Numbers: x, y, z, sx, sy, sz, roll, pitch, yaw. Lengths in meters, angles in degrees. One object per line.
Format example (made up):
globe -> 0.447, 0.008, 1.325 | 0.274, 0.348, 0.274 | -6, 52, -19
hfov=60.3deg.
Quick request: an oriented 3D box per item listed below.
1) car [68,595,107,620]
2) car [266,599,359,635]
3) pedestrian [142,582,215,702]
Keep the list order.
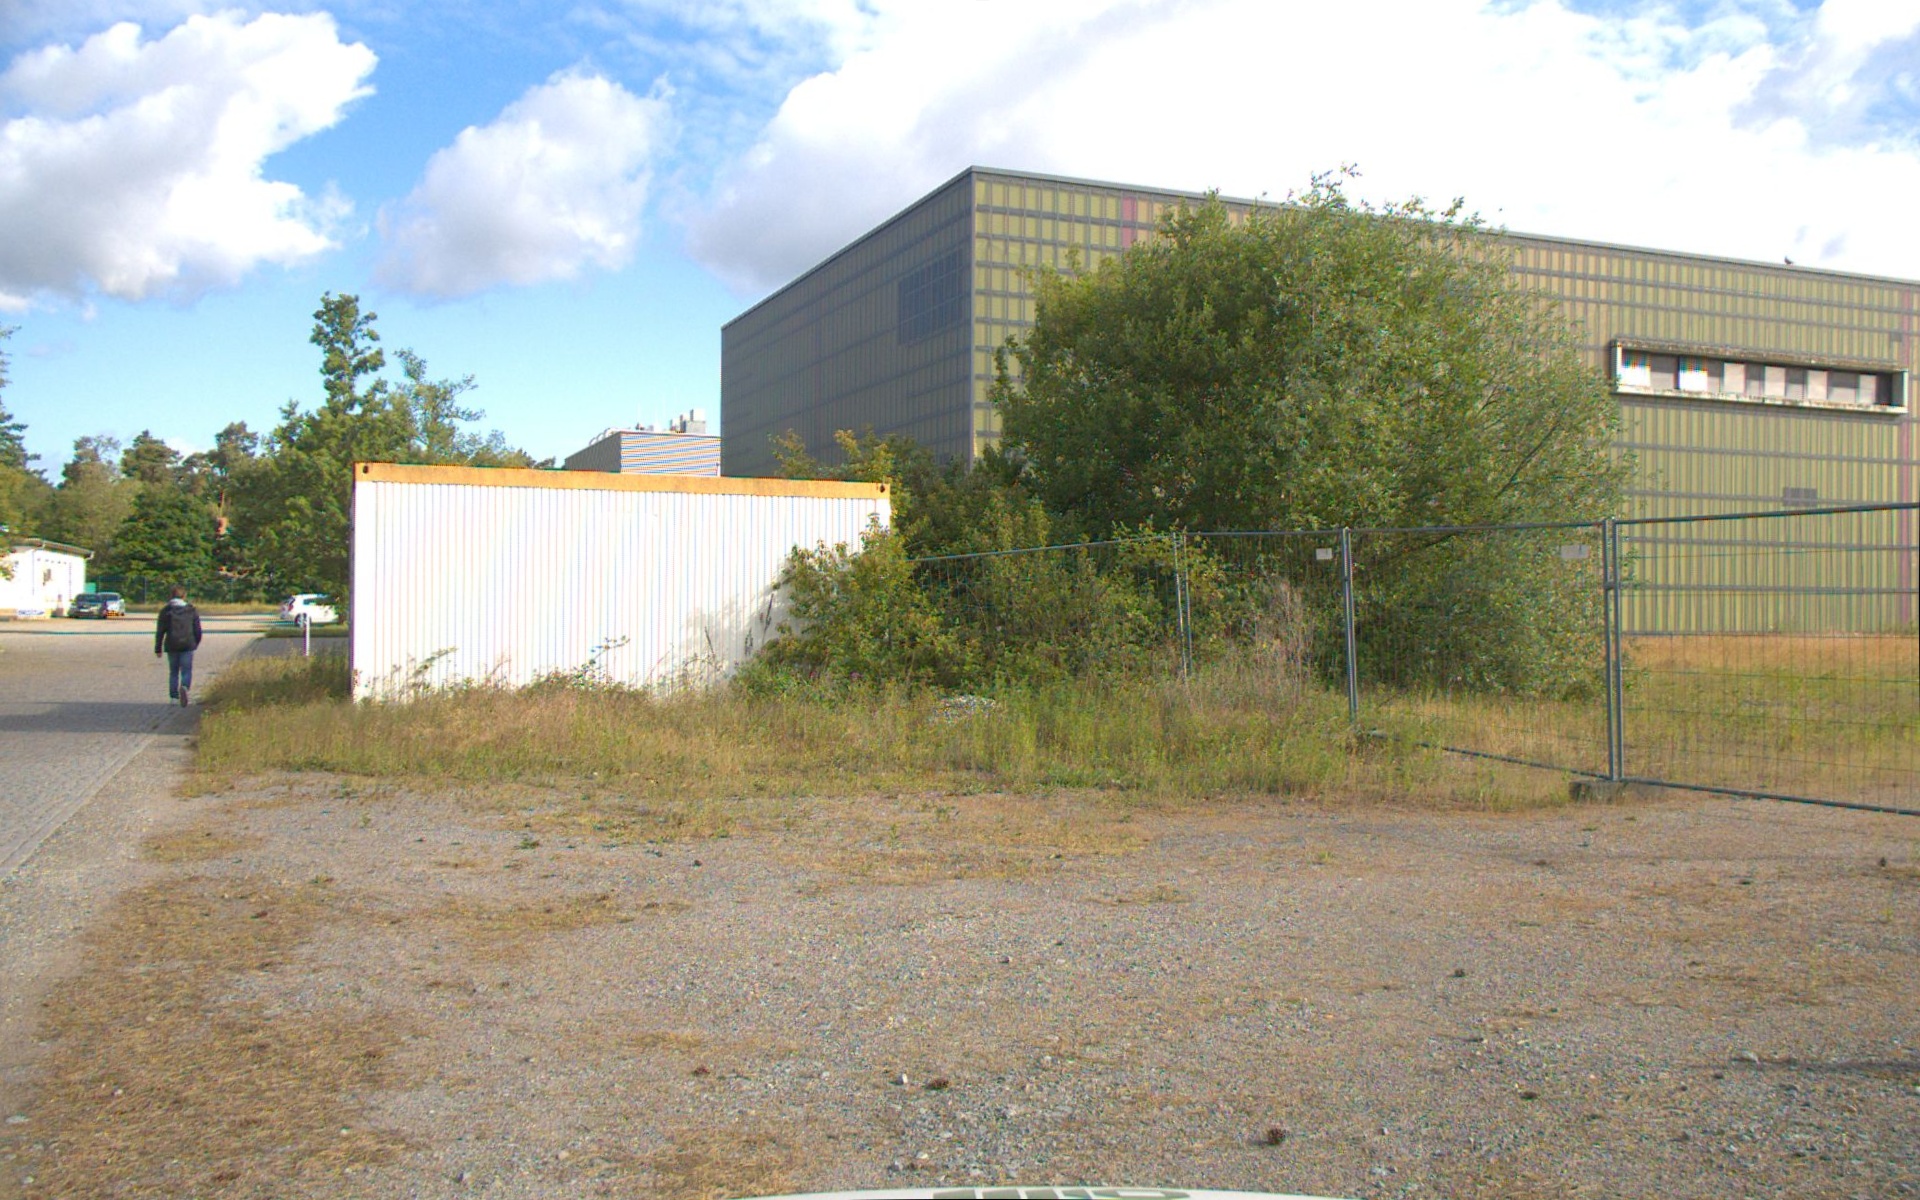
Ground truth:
car -> -50.892, 0.422, 96.451 | 1.971, 1.395, 3.962 | 0, 0, -29
car -> -30.903, 0.799, 79.037 | 3.924, 1.671, 1.990 | 1, 0, -18
pedestrian -> -10.630, 0.559, 22.523 | 0.854, 1.586, 1.020 | 1, 0, -24
